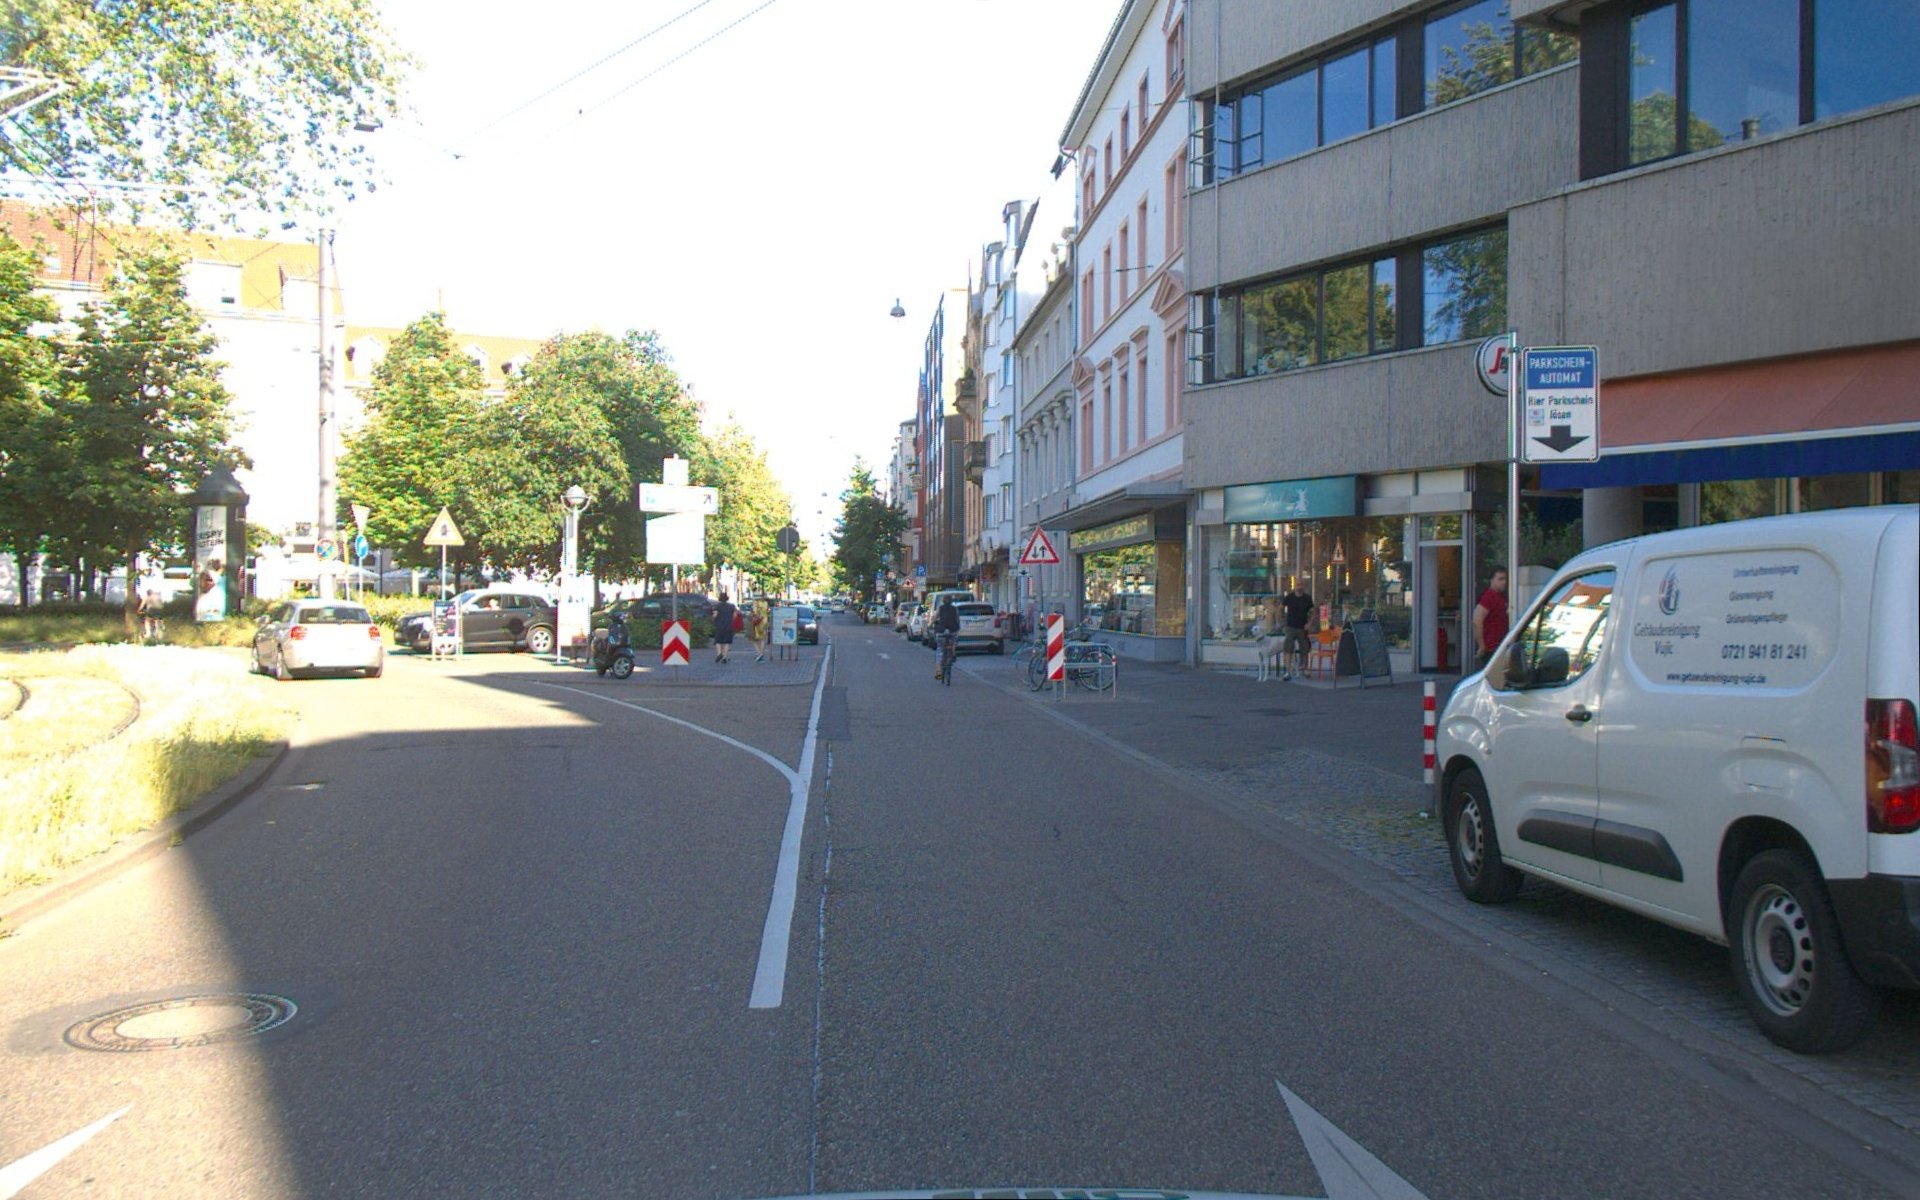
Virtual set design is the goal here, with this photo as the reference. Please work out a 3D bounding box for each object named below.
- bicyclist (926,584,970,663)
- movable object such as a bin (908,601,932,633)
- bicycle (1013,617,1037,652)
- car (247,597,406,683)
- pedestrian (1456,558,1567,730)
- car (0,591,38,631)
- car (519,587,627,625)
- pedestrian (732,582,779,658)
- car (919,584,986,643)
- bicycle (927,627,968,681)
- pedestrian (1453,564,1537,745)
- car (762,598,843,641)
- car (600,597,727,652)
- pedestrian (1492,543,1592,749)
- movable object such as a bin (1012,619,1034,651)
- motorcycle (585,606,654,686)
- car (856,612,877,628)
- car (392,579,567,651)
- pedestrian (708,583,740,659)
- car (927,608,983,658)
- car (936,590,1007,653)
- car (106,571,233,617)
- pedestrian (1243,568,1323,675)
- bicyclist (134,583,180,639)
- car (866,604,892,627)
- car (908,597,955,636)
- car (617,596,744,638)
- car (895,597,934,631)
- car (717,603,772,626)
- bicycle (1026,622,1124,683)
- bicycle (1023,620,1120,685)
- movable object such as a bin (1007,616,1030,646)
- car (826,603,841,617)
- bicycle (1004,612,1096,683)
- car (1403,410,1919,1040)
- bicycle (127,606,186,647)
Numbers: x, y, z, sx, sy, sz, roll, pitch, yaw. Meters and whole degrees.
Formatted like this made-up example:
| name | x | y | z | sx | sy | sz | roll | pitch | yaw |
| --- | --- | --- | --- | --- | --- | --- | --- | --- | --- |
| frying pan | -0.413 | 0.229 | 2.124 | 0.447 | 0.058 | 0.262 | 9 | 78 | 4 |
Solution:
| name | x | y | z | sx | sy | sz | roll | pitch | yaw |
| --- | --- | --- | --- | --- | --- | --- | --- | --- | --- |
| bicyclist | -0.240 | 0.454 | 31.825 | 0.770 | 1.478 | 1.095 | 2 | -2 | -3 |
| movable object such as a bin | -1.946 | 0.817 | 80.689 | 1.051 | 1.482 | 1.492 | -2 | 0 | 0 |
| bicycle | 2.354 | 1.255 | 59.727 | 0.473 | 1.206 | 1.721 | -2 | -3 | 14 |
| car | -11.834 | 0.735 | 30.740 | 1.974 | 1.448 | 4.150 | 3 | -2 | -32 |
| pedestrian | 5.777 | 0.448 | 17.328 | 0.833 | 1.740 | 0.712 | -1 | 0 | -33 |
| car | -46.935 | 0.485 | 79.115 | 4.798 | 1.836 | 1.893 | 3 | -2 | -27 |
| car | -20.685 | 0.337 | 88.442 | 5.211 | 1.831 | 2.140 | 3 | -2 | -32 |
| pedestrian | -4.721 | 0.465 | 38.171 | 0.787 | 1.729 | 0.669 | 1 | -2 | 26 |
| car | -0.328 | 0.484 | 60.556 | 1.955 | 2.040 | 5.110 | 1 | 0 | -6 |
| bicycle | -0.261 | 1.032 | 31.906 | 0.639 | 0.975 | 2.696 | 2 | -2 | -3 |
| pedestrian | 5.312 | 0.542 | 16.442 | 0.572 | 1.744 | 0.697 | 2 | -2 | -2 |
| car | -5.790 | 0.739 | 61.365 | 1.870 | 1.442 | 4.813 | 1 | -2 | 8 |
| car | -10.026 | 0.810 | 55.882 | 3.929 | 1.697 | 1.988 | 2 | -1 | -21 |
| pedestrian | 5.496 | 0.435 | 15.650 | 0.657 | 1.889 | 0.610 | -2 | -2 | -1 |
| movable object such as a bin | 2.359 | 1.298 | 61.784 | 0.753 | 1.181 | 0.578 | 2 | -2 | -2 |
| motorcycle | -6.208 | 0.820 | 30.067 | 0.737 | 1.398 | 1.745 | 3 | -2 | -28 |
| car | -9.315 | 1.963 | 164.384 | 1.955 | 1.478 | 3.996 | 1 | -1 | -5 |
| car | -11.981 | 0.398 | 41.296 | 3.831 | 1.712 | 1.787 | 1 | -2 | -38 |
| pedestrian | -5.362 | 0.485 | 37.669 | 0.623 | 1.701 | 0.692 | 2 | -2 | -4 |
| car | -0.202 | 1.123 | 55.597 | 1.666 | 1.632 | 3.753 | 1 | -2 | -4 |
| car | 0.303 | 0.684 | 50.569 | 1.711 | 1.769 | 4.955 | 2 | -2 | -5 |
| car | -39.584 | -0.251 | 82.883 | 5.519 | 2.049 | 1.798 | 3 | -2 | -31 |
| pedestrian | 5.552 | 0.370 | 28.470 | 1.109 | 1.773 | 1.022 | 2 | -2 | -2 |
| bicyclist | -22.555 | 0.312 | 46.473 | 0.924 | 1.534 | 0.813 | 3 | -2 | -42 |
| car | -6.440 | 1.241 | 132.192 | 1.953 | 1.646 | 4.008 | 2 | -2 | -2 |
| car | -1.232 | 0.722 | 70.036 | 1.685 | 1.541 | 3.578 | -2 | -1 | -5 |
| car | -11.340 | 0.701 | 67.175 | 4.780 | 1.514 | 1.748 | 3 | -2 | -29 |
| car | -2.530 | 0.799 | 91.050 | 1.862 | 1.704 | 4.819 | 2 | -2 | -5 |
| car | -16.173 | 1.092 | 124.134 | 3.908 | 1.534 | 1.998 | 2 | -1 | -4 |
| bicycle | 2.051 | 0.937 | 29.488 | 1.667 | 1.022 | 0.428 | 1 | -2 | 11 |
| bicycle | 1.965 | 0.924 | 29.113 | 1.643 | 1.081 | 0.344 | 1 | -2 | 11 |
| movable object such as a bin | 2.248 | 1.209 | 63.764 | 0.822 | 1.157 | 0.699 | 0 | -2 | -2 |
| car | -15.748 | 1.214 | 205.654 | 1.833 | 1.583 | 3.996 | 2 | -2 | -4 |
| bicycle | 1.681 | 0.892 | 30.863 | 1.587 | 1.265 | 0.659 | 1 | -2 | 16 |
| car | 3.615 | 0.446 | 7.078 | 1.955 | 1.844 | 4.304 | 2 | -2 | -5 |
| bicycle | -22.609 | 0.737 | 46.510 | 0.805 | 1.088 | 2.544 | 3 | -2 | -41 |
